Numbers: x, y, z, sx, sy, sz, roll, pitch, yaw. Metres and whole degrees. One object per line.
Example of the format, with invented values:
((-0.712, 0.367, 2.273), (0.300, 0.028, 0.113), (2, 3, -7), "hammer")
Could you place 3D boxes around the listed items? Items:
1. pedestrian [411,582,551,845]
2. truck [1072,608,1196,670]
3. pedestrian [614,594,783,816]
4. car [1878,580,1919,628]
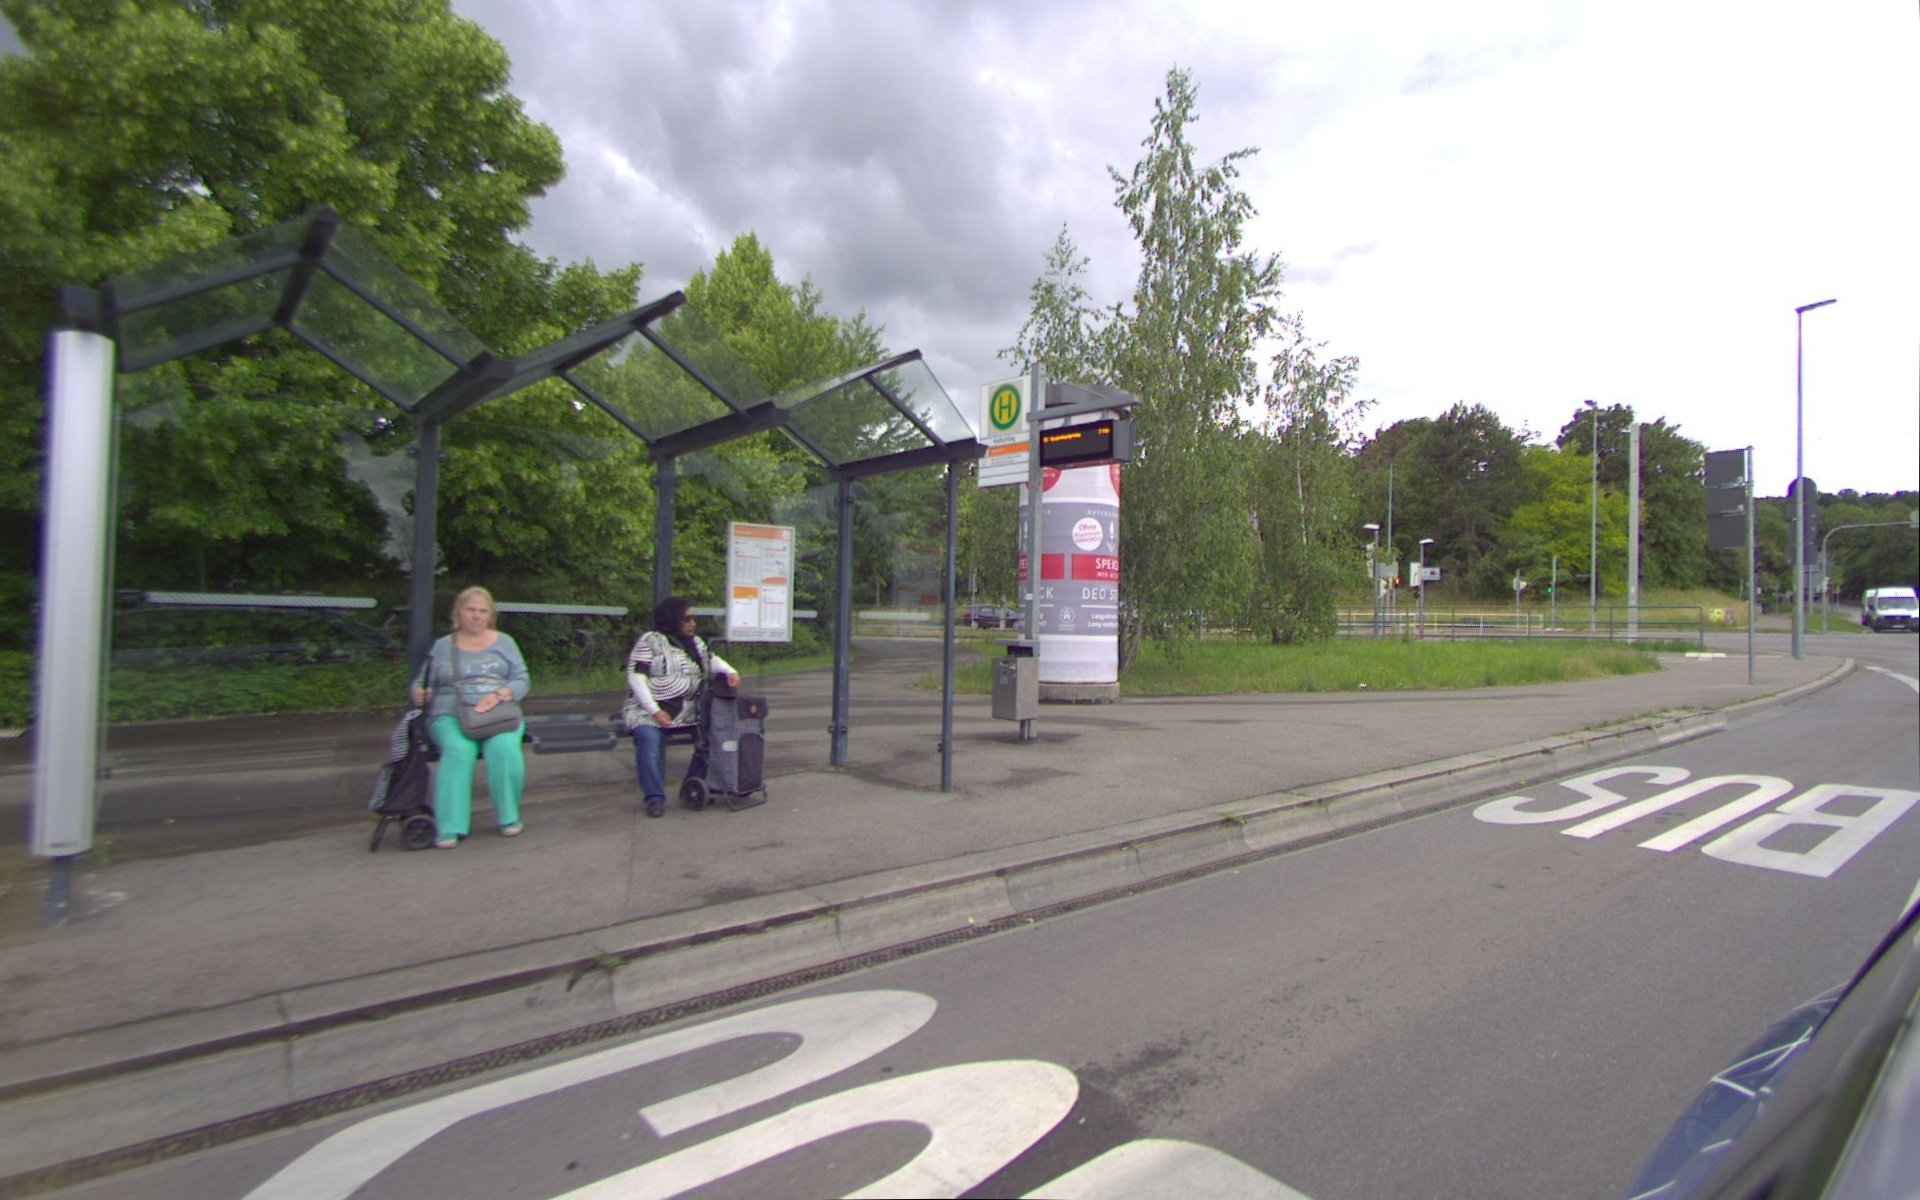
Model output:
((-2.656, 0.577, 5.597), (0.578, 1.333, 0.730), (0, -1, -36), "pedestrian")
((9.335, 2.036, 54.396), (6.213, 3.047, 2.092), (-1, 2, 28), "truck")
((-1.583, 0.601, 6.234), (0.763, 1.269, 0.770), (0, -1, 10), "pedestrian")
((56.130, 0.253, 59.989), (2.218, 2.693, 5.873), (-2, -2, 40), "car")
